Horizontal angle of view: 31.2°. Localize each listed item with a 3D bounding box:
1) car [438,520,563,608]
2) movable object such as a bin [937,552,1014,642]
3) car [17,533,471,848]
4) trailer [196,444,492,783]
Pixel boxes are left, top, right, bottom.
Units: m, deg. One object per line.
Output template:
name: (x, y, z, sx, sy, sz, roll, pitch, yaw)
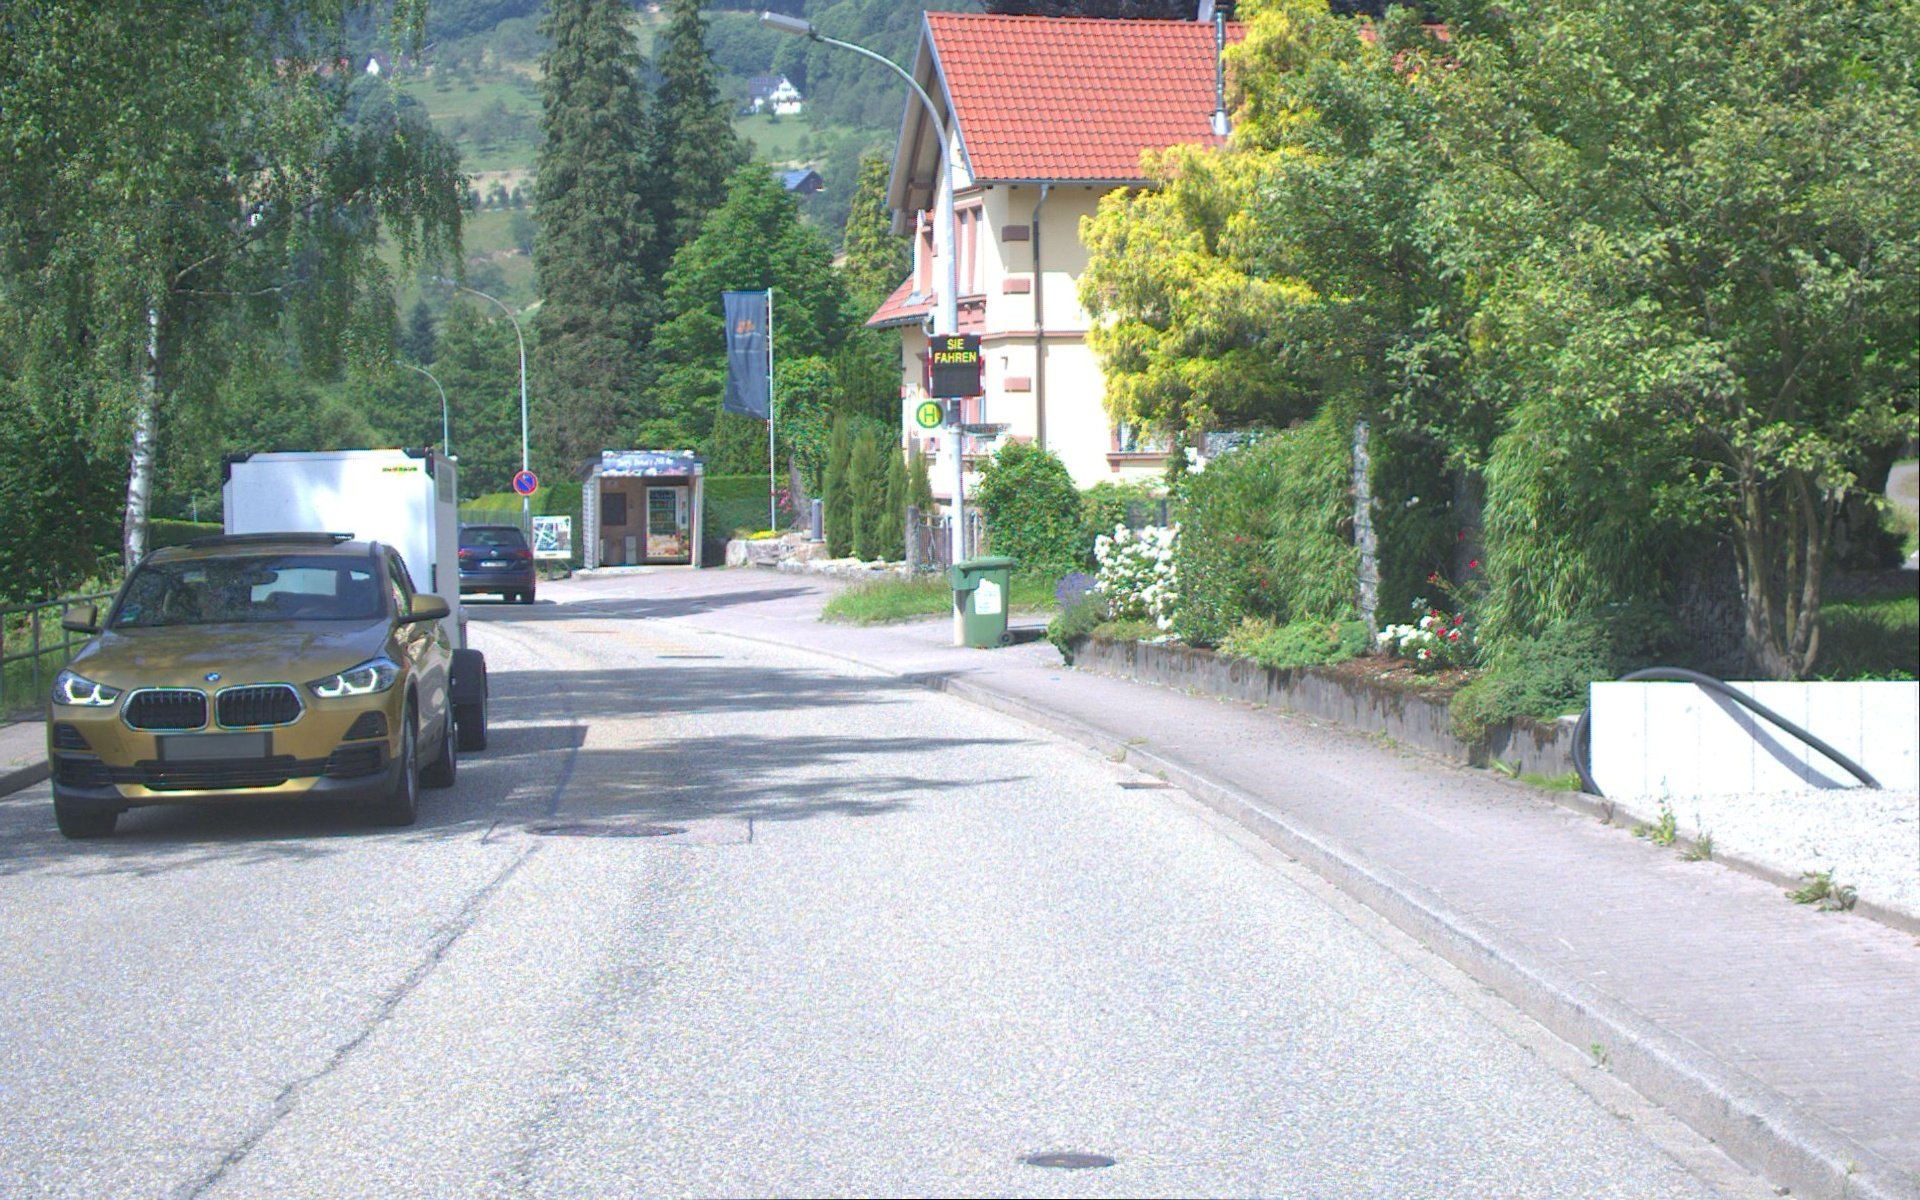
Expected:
car: (-9.357, -0.752, 69.760, 1.919, 1.692, 3.789, -2, 1, -16)
movable object such as a bin: (0.182, -0.039, 40.803, 0.809, 1.039, 0.579, -1, 2, -9)
car: (-3.815, 0.404, 18.992, 1.813, 1.495, 4.150, -1, 1, -3)
trailer: (-4.071, 0.042, 23.172, 1.466, 2.070, 3.671, -1, 1, -3)
